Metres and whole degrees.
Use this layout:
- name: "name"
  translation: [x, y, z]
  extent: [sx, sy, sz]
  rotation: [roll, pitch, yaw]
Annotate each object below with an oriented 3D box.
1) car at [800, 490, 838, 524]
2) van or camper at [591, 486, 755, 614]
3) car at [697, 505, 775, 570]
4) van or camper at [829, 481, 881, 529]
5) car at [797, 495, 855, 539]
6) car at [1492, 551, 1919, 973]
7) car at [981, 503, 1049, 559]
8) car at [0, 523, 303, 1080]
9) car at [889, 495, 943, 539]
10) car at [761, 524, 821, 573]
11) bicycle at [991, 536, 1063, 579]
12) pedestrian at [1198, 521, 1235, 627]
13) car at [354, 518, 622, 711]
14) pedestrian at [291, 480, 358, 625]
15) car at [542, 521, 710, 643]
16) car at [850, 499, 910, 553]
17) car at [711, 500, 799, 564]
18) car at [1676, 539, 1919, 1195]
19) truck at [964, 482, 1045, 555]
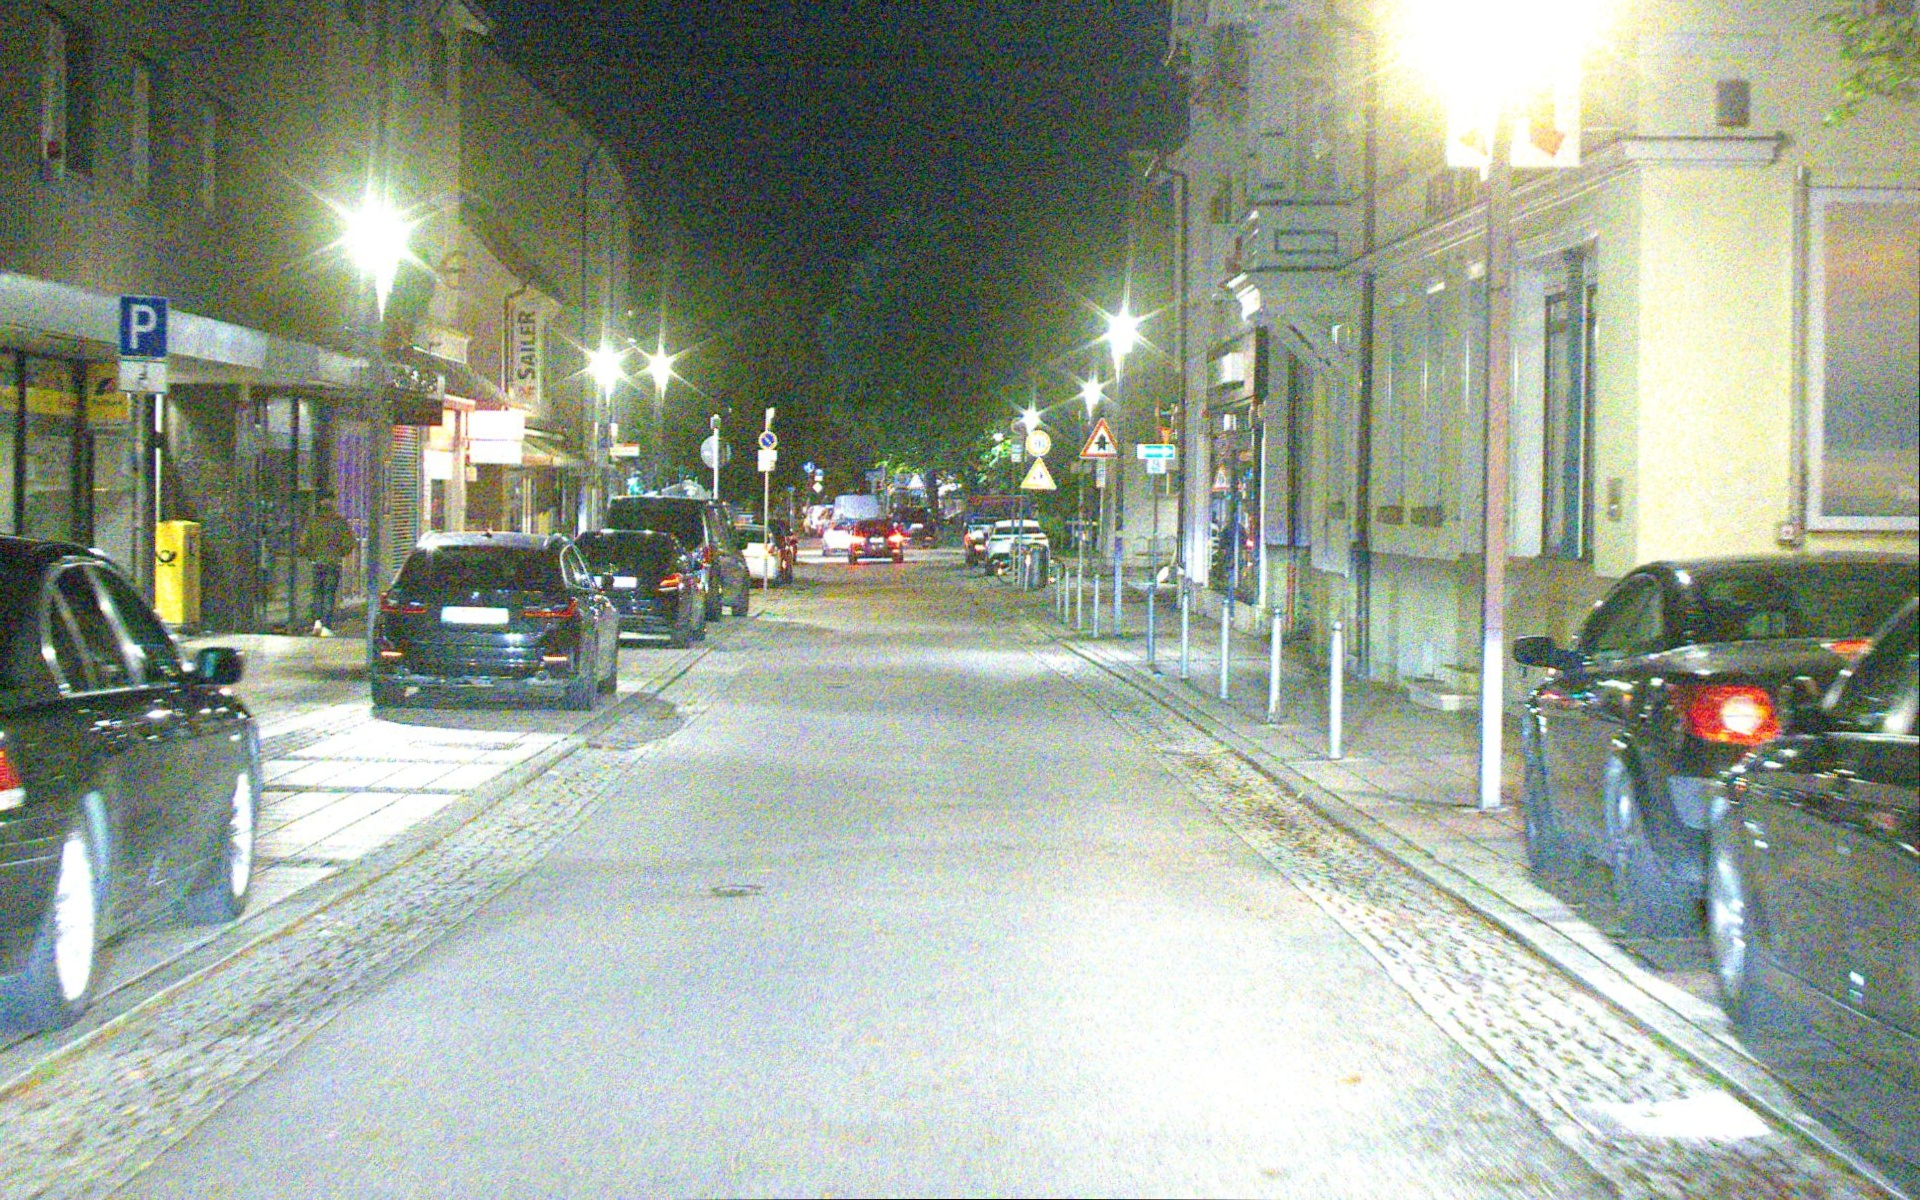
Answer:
- name: "car"
  translation: [-7.851, -5.171, 191.410]
  extent: [1.839, 1.894, 3.846]
  rotation: [0, 2, -6]
- name: "van or camper"
  translation: [-4.600, -0.838, 55.869]
  extent: [1.846, 1.935, 5.153]
  rotation: [1, 1, 4]
- name: "car"
  translation: [-5.323, -1.503, 81.969]
  extent: [1.728, 1.471, 3.847]
  rotation: [1, 2, -2]
- name: "van or camper"
  translation: [-5.309, -4.781, 172.783]
  extent: [2.108, 2.309, 4.263]
  rotation: [-1, 2, -8]
- name: "car"
  translation: [-5.242, -3.236, 134.036]
  extent: [1.993, 1.697, 4.001]
  rotation: [0, 2, -6]
- name: "car"
  translation: [3.223, 0.524, 13.745]
  extent: [1.661, 1.373, 4.104]
  rotation: [-1, 1, 2]
- name: "car"
  translation: [1.509, -1.945, 95.821]
  extent: [1.789, 1.486, 4.059]
  rotation: [-1, 2, 0]
- name: "car"
  translation: [-3.514, 0.487, 11.294]
  extent: [1.845, 1.459, 4.624]
  rotation: [2, 1, -1]
- name: "car"
  translation: [-1.905, -3.560, 146.731]
  extent: [1.814, 1.822, 4.348]
  rotation: [0, 2, -7]
- name: "car"
  translation: [-5.694, -1.745, 115.661]
  extent: [1.673, 1.538, 4.232]
  rotation: [1, 2, -7]
- name: "bicycle"
  translation: [1.643, -1.040, 84.171]
  extent: [1.754, 1.058, 0.346]
  rotation: [0, 1, -4]
- name: "pedestrian"
  translation: [3.775, -0.384, 50.587]
  extent: [0.501, 1.542, 0.480]
  rotation: [1, 1, 5]
- name: "car"
  translation: [-3.966, 0.076, 29.511]
  extent: [1.797, 1.473, 4.322]
  rotation: [2, 1, -2]
- name: "pedestrian"
  translation: [-7.761, -0.582, 41.988]
  extent: [0.621, 1.739, 1.023]
  rotation: [1, 1, -1]
- name: "car"
  translation: [-4.183, -0.269, 43.606]
  extent: [1.716, 1.408, 4.386]
  rotation: [2, 1, -1]
- name: "car"
  translation: [-2.796, -2.552, 118.716]
  extent: [1.993, 1.817, 4.001]
  rotation: [0, 1, -2]
- name: "car"
  translation: [-5.189, -1.754, 87.457]
  extent: [2.019, 1.483, 5.008]
  rotation: [3, 1, -2]
- name: "car"
  translation: [3.064, 0.583, 8.539]
  extent: [1.753, 1.459, 4.466]
  rotation: [-1, 1, 2]
- name: "truck"
  translation: [1.409, -2.666, 111.413]
  extent: [2.336, 2.304, 5.781]
  rotation: [0, 2, -2]
